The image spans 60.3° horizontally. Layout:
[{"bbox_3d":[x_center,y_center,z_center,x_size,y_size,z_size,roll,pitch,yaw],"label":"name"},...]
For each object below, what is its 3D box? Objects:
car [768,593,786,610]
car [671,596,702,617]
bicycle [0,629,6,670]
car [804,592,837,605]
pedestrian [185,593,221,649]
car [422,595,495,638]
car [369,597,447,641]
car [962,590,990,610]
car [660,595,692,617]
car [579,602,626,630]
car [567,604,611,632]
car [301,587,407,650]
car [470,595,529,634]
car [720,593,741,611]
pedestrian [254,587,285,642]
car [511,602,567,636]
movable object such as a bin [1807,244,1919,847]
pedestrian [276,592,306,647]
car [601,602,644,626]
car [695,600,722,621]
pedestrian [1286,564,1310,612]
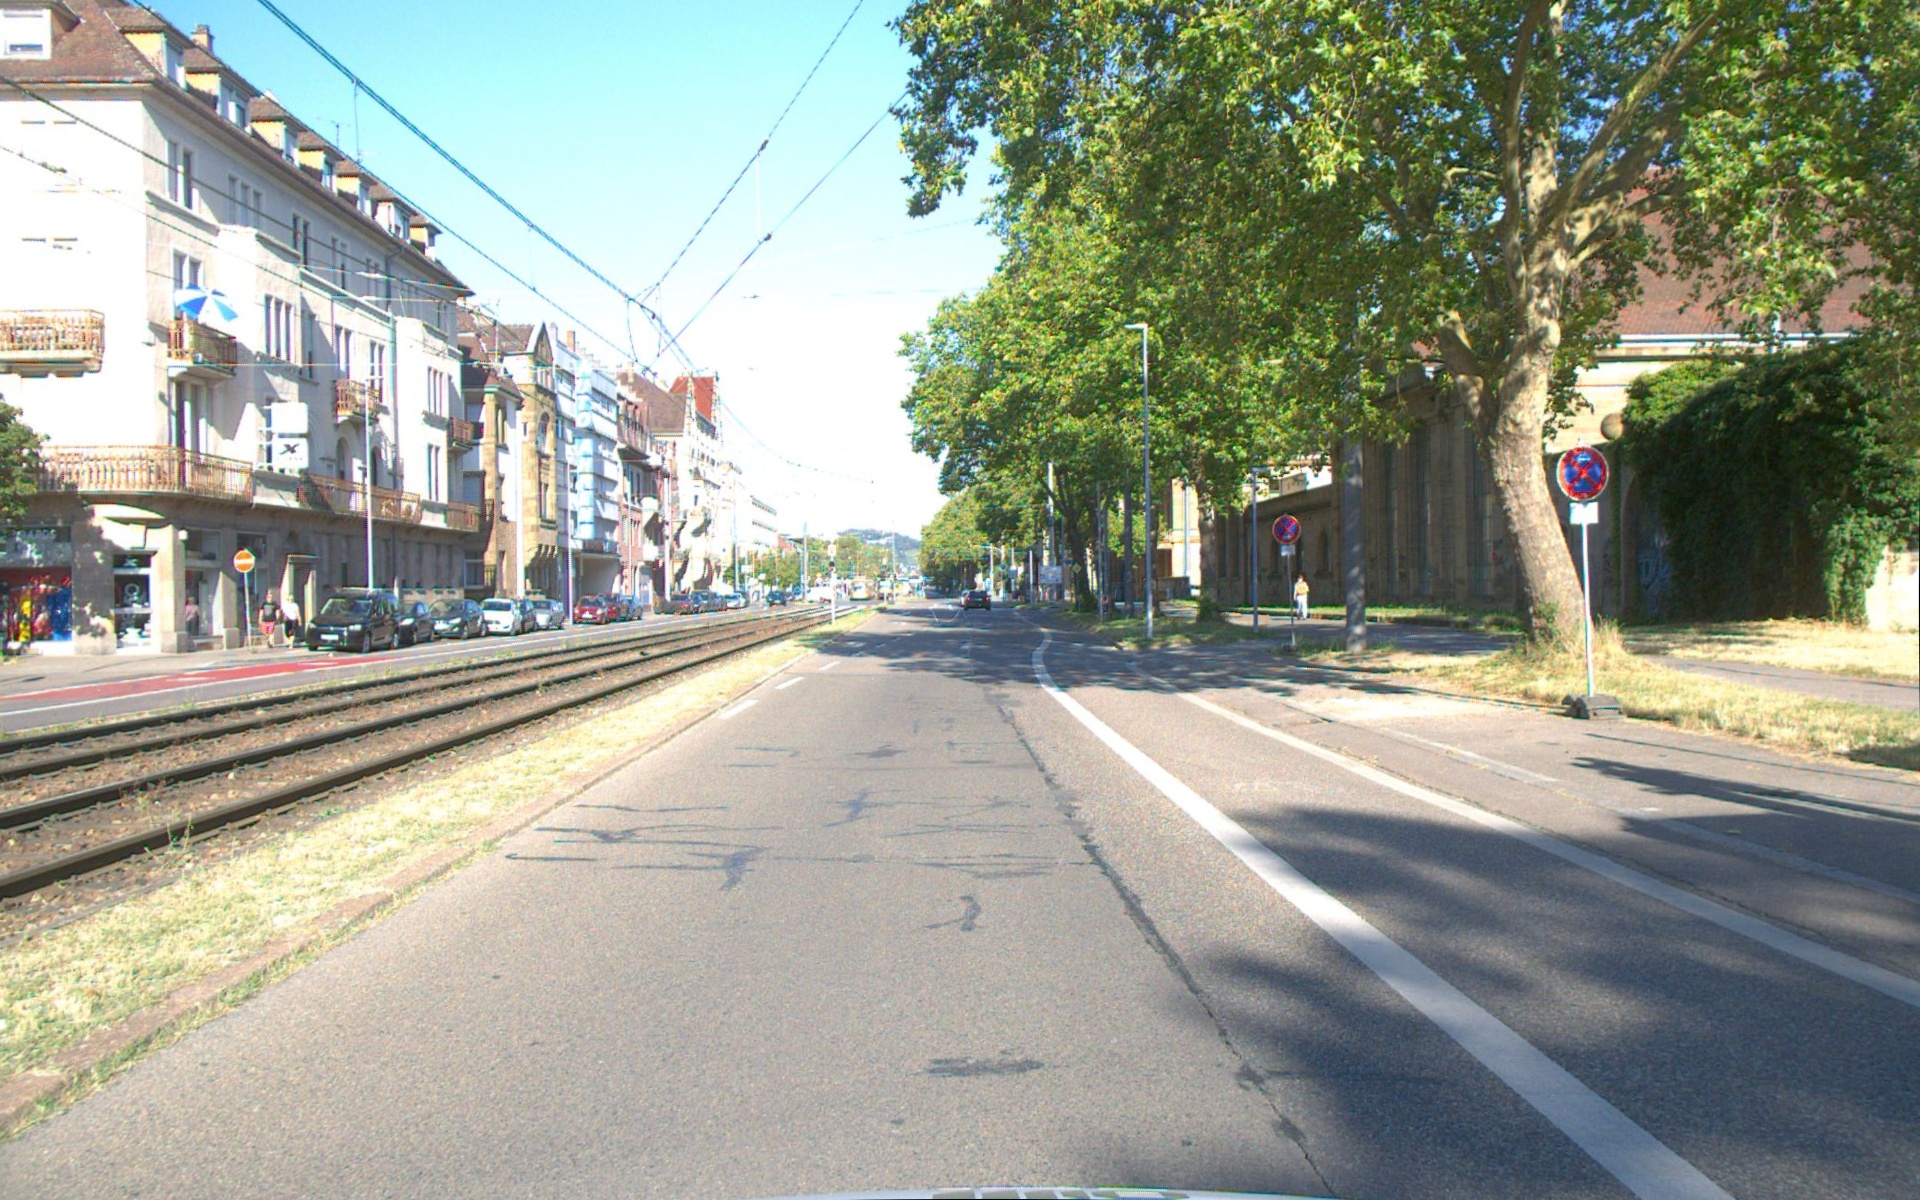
[{"bbox_3d":[-18.885,0.128,170.972,1.603,1.629,4.156,-2,0,-3],"label":"car"},{"bbox_3d":[-21.152,0.515,127.844,1.758,1.536,3.999,2,0,-2],"label":"car"},{"bbox_3d":[-24.466,1.261,40.586,0.670,1.033,2.413,1,1,1],"label":"bicycle"},{"bbox_3d":[-17.474,-0.150,207.070,3.918,1.537,1.794,1,-1,34],"label":"car"},{"bbox_3d":[-23.285,0.653,50.871,0.626,1.690,0.954,1,-1,0],"label":"pedestrian"},{"bbox_3d":[-19.186,0.608,63.400,1.602,1.494,4.157,2,0,-2],"label":"car"},{"bbox_3d":[-19.189,0.645,57.622,1.595,1.415,3.507,2,0,-3],"label":"car"},{"bbox_3d":[1.091,-0.013,116.550,1.796,1.415,4.157,0,0,-2],"label":"car"},{"bbox_3d":[-21.067,0.443,122.905,1.758,1.485,4.264,2,0,-2],"label":"car"},{"bbox_3d":[-20.535,0.903,95.206,1.796,1.585,4.352,0,0,0],"label":"car"},{"bbox_3d":[-20.094,0.945,89.740,1.798,1.415,4.030,2,0,-6],"label":"car"},{"bbox_3d":[-18.883,0.529,51.741,1.825,1.817,4.400,1,1,-2],"label":"car"},{"bbox_3d":[-18.994,0.562,68.339,1.604,1.494,3.978,-2,0,-6],"label":"car"},{"bbox_3d":[-21.679,0.193,156.510,1.760,1.536,3.995,2,0,-6],"label":"car"},{"bbox_3d":[-21.932,0.467,52.538,0.577,1.726,0.857,1,-1,0],"label":"pedestrian"},{"bbox_3d":[-19.704,0.878,77.510,1.602,1.494,4.158,0,1,-1],"label":"car"},{"bbox_3d":[6.449,-0.327,6.150,2.689,3.200,7.219,-4,1,0],"label":"movable object such as a bin"},{"bbox_3d":[-21.261,0.620,52.556,0.577,1.726,0.857,1,-1,0],"label":"pedestrian"},{"bbox_3d":[-20.505,0.838,100.553,1.796,1.415,4.680,0,0,-2],"label":"car"},{"bbox_3d":[-20.959,0.852,138.201,1.652,1.681,4.198,2,0,-2],"label":"car"},{"bbox_3d":[12.623,-0.443,61.750,0.596,1.710,0.635,-5,0,-4],"label":"pedestrian"}]
